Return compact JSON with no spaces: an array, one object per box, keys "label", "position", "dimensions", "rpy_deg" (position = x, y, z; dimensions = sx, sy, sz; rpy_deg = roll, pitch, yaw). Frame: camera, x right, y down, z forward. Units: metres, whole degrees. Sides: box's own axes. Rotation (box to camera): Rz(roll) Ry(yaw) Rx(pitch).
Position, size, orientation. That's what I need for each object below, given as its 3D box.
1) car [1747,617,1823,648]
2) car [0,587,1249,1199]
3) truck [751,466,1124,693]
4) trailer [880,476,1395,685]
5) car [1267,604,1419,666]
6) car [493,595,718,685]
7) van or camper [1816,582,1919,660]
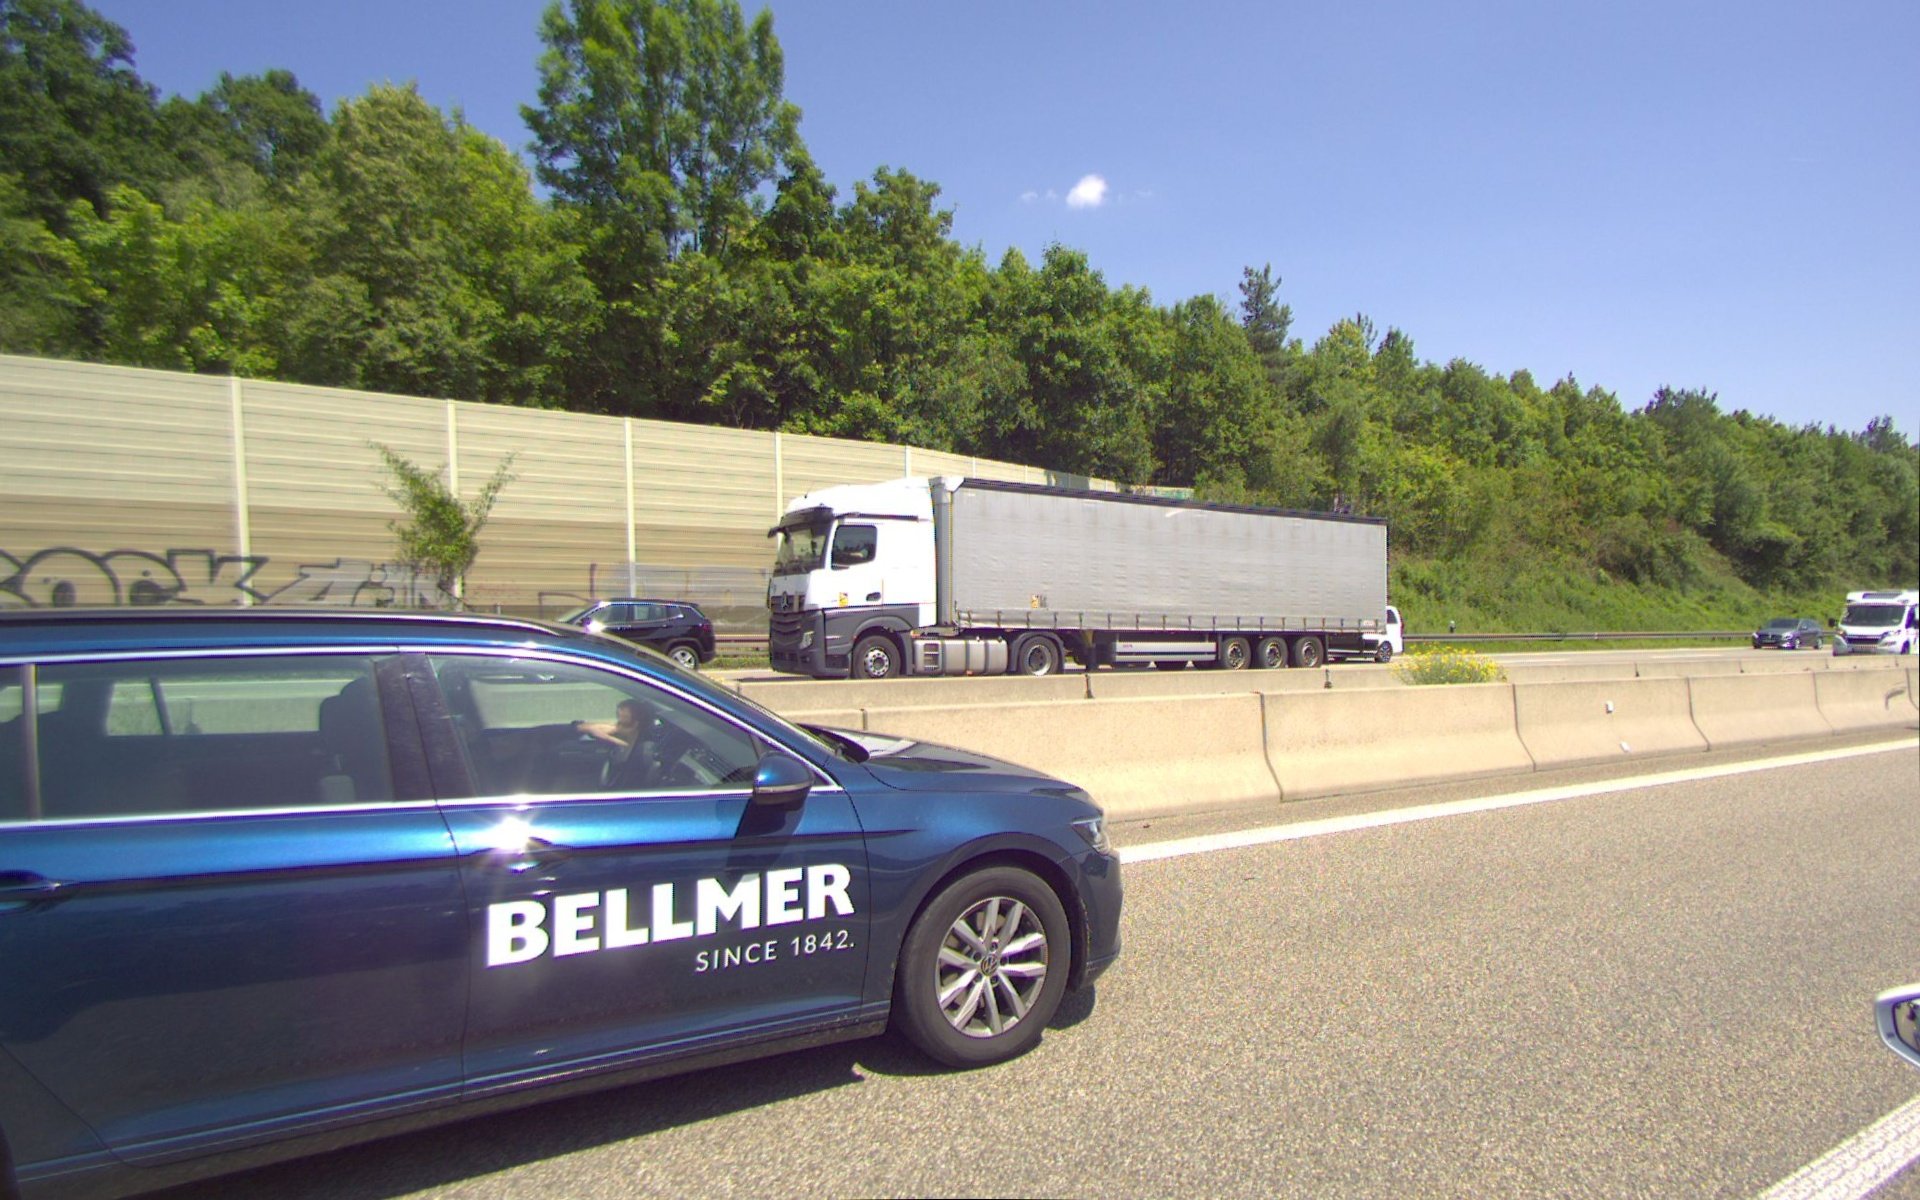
[{"label":"car","position":[41.474,1.638,50.473],"dimensions":[4.337,1.481,1.570],"rpy_deg":[1,-1,-30]},{"label":"car","position":[-1.410,0.727,3.226],"dimensions":[4.673,1.447,1.724],"rpy_deg":[2,0,-30]},{"label":"truck","position":[-0.334,-0.258,20.653],"dimensions":[7.234,3.960,2.798],"rpy_deg":[2,-1,-32]},{"label":"trailer","position":[4.845,-0.185,23.875],"dimensions":[13.673,3.960,2.798],"rpy_deg":[2,-1,-32]},{"label":"car","position":[12.267,1.103,32.077],"dimensions":[5.047,1.834,1.801],"rpy_deg":[1,0,-30]},{"label":"car","position":[-7.180,0.778,20.419],"dimensions":[4.050,1.663,1.801],"rpy_deg":[1,0,-30]},{"label":"van or camper","position":[35.520,0.833,38.402],"dimensions":[6.728,2.772,2.258],"rpy_deg":[2,-1,-31]}]
